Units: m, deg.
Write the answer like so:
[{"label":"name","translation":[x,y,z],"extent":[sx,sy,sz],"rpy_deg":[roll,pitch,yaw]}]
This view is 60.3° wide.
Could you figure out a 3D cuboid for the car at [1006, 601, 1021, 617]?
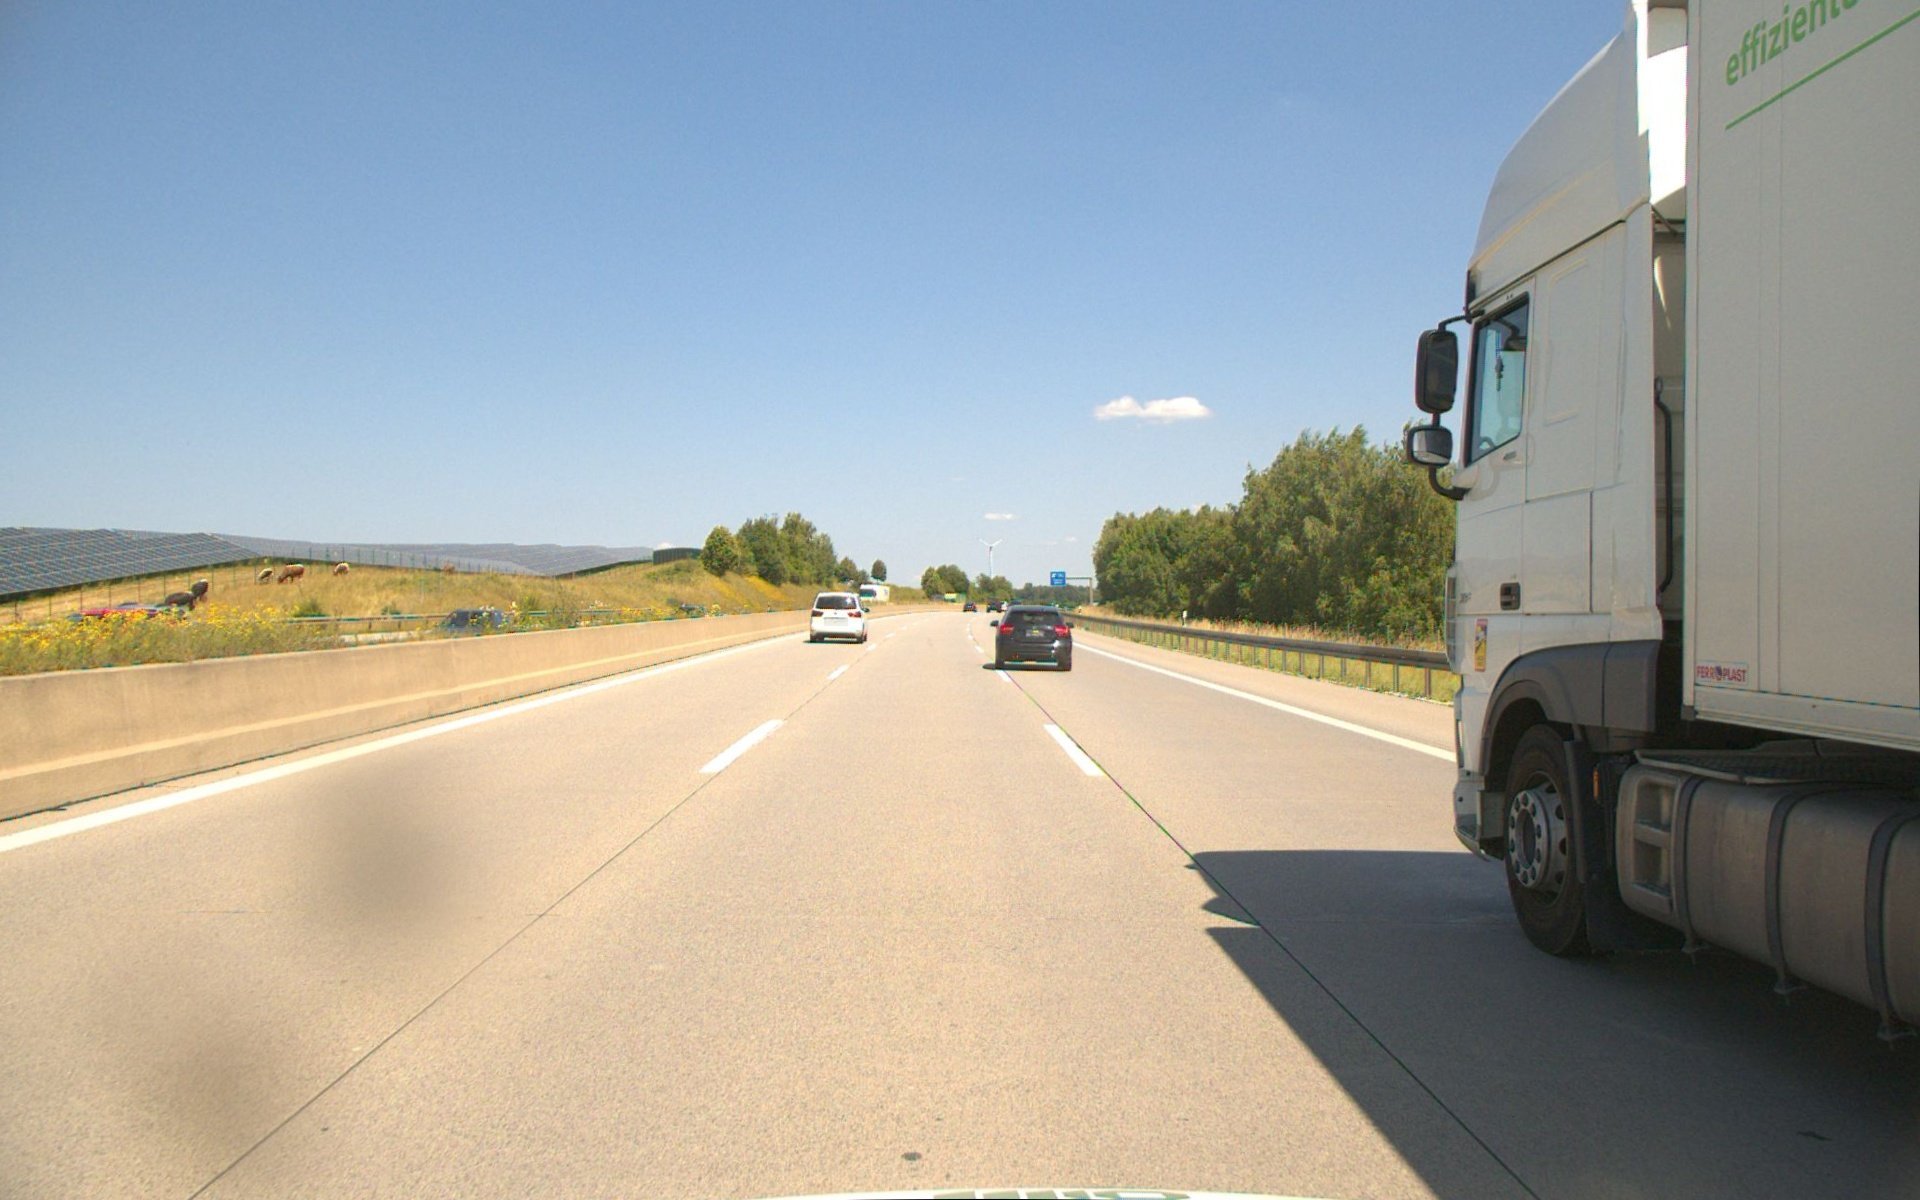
[{"label":"car","translation":[6.750,1.103,208.421],"extent":[1.789,1.940,4.002],"rpy_deg":[0,0,3]}]

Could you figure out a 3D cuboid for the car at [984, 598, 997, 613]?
[{"label":"car","translation":[4.204,0.779,226.981],"extent":[1.789,1.971,3.809],"rpy_deg":[0,0,1]}]

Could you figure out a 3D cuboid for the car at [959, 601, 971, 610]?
[{"label":"car","translation":[0.711,0.829,241.641],"extent":[1.622,1.217,3.959],"rpy_deg":[3,0,-1]}]

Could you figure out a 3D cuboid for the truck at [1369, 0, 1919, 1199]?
[{"label":"truck","translation":[3.771,-0.559,6.556],"extent":[2.755,4.159,5.797],"rpy_deg":[1,0,-1]}]

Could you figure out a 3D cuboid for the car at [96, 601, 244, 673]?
[{"label":"car","translation":[-18.832,0.843,39.597],"extent":[1.616,1.579,3.968],"rpy_deg":[2,0,0]}]

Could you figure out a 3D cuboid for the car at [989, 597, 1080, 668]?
[{"label":"car","translation":[1.678,0.707,38.505],"extent":[1.871,1.518,4.191],"rpy_deg":[1,0,-1]}]

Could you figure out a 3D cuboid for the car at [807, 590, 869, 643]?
[{"label":"car","translation":[-4.223,0.552,58.185],"extent":[1.808,1.738,6.034],"rpy_deg":[1,0,-1]}]
